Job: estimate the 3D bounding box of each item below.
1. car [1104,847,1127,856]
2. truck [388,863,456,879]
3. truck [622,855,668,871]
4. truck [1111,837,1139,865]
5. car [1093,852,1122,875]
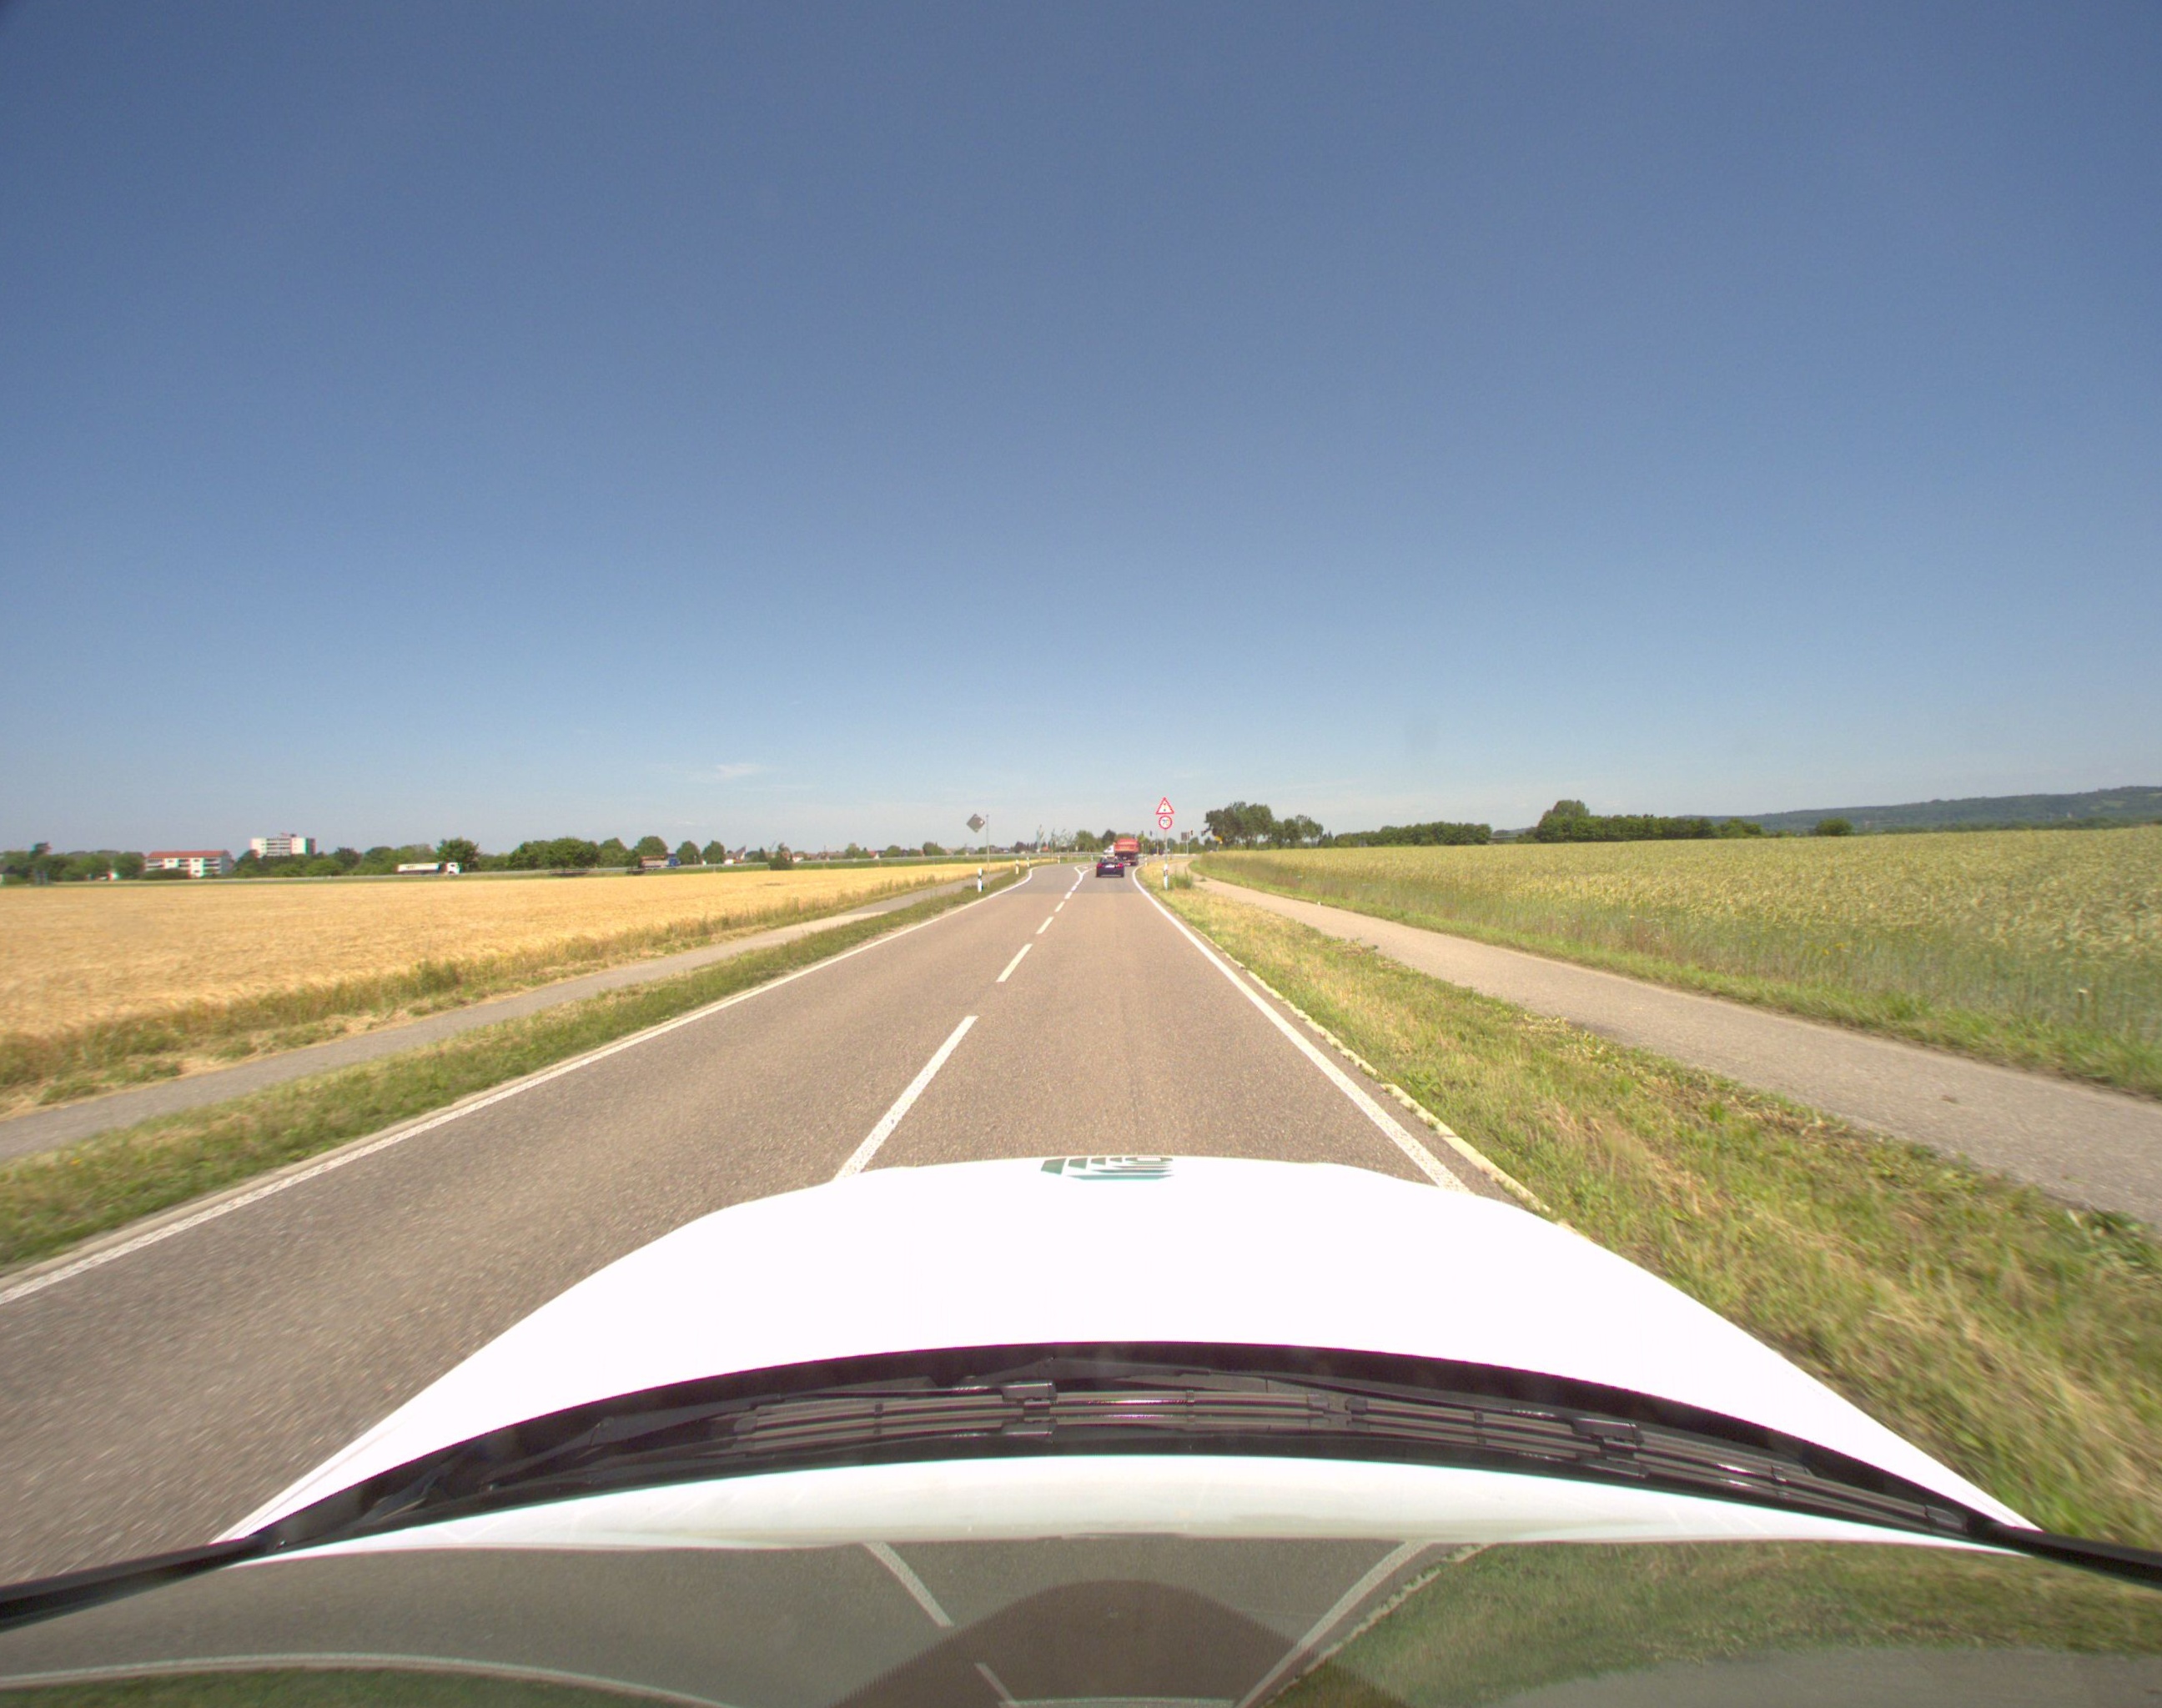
[{"bbox_3d":[9.029,-0.666,213.085,5.876,2.421,2.256,0,0,13],"label":"car"},{"bbox_3d":[-157.243,3.968,194.515,12.042,3.614,2.960,-1,0,-23],"label":"truck"},{"bbox_3d":[-111.541,2.327,208.571,10.094,3.793,2.614,-1,0,-14],"label":"truck"},{"bbox_3d":[5.144,-0.246,93.800,2.700,3.053,8.178,0,-1,6],"label":"truck"},{"bbox_3d":[1.665,0.622,51.157,1.741,1.376,3.680,1,-1,1],"label":"car"}]
